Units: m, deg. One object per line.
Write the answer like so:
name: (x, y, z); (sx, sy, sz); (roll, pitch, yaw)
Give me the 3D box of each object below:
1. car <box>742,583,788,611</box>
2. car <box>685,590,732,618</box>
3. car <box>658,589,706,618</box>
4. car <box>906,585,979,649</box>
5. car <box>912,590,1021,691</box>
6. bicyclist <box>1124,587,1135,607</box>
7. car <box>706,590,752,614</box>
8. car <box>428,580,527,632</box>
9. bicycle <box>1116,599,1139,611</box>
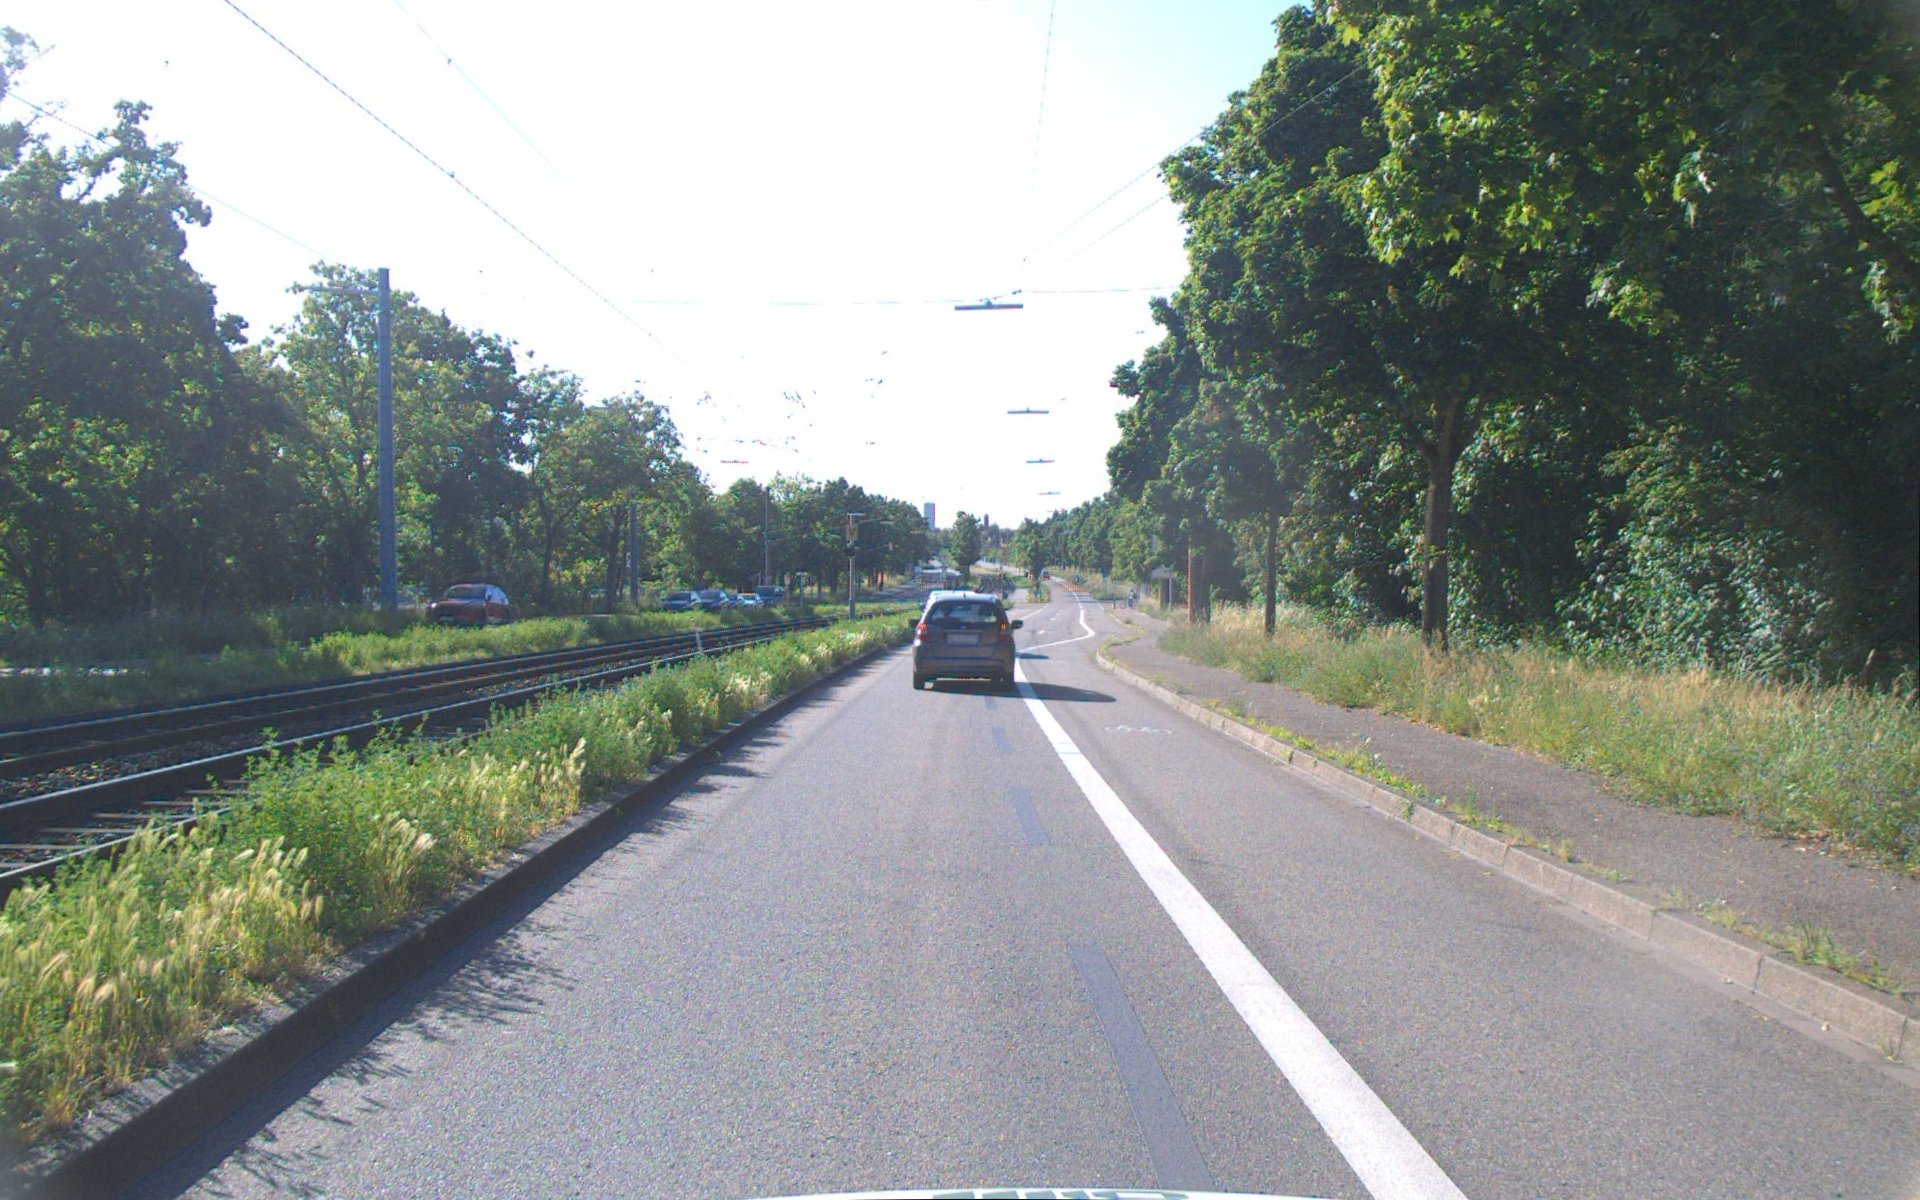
car: (-13.785, -0.207, 117.161); (2.150, 1.924, 4.794); (1, 1, 6)
car: (-15.001, 0.221, 98.870); (1.952, 1.602, 4.437); (0, 1, 3)
car: (-15.455, 0.166, 92.184); (1.699, 1.520, 4.329); (2, 0, 2)
car: (-0.431, 0.425, 44.479); (1.812, 1.634, 4.255); (0, 0, 1)
car: (0.117, 0.621, 27.817); (1.672, 1.535, 4.000); (1, 0, 0)
bicyclist: (15.312, -0.285, 149.424); (0.891, 1.775, 0.765); (-1, 0, 15)
car: (-14.626, 0.084, 104.907); (1.951, 1.462, 4.417); (0, 1, 4)
car: (-16.926, 0.182, 58.241); (1.962, 1.732, 4.468); (0, 0, 3)
bicycle: (15.128, 0.421, 149.475); (1.879, 1.015, 0.765); (-2, -1, 15)
